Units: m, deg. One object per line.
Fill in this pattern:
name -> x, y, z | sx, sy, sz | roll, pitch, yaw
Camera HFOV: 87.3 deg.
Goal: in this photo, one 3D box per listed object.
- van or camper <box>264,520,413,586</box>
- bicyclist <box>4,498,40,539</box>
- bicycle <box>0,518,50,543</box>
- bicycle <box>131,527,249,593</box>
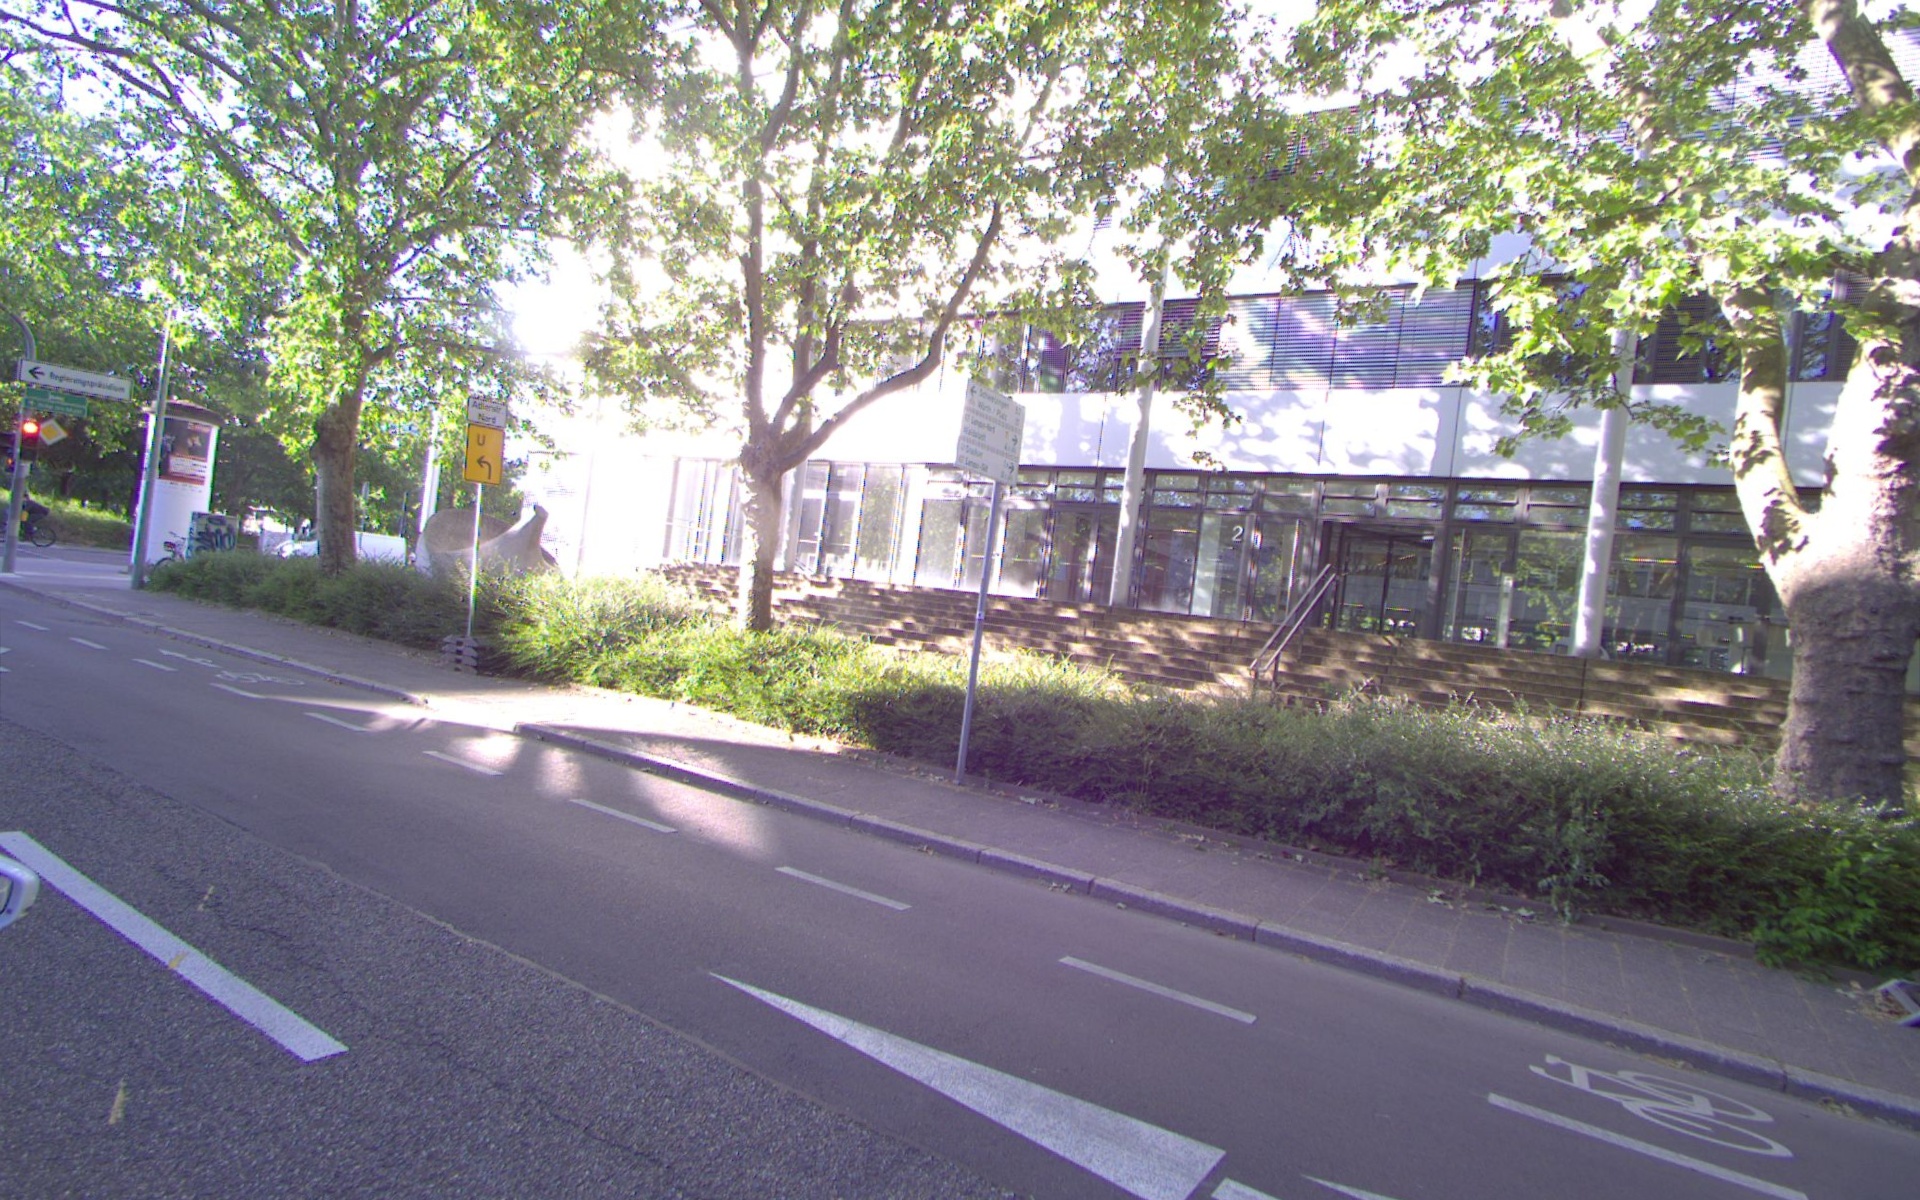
van or camper -> -25.042, -1.852, 40.688 | 1.967, 1.964, 4.587 | 7, -1, 32
bicyclist -> -31.618, -2.751, 33.924 | 0.450, 1.275, 0.704 | 7, 0, 35
bicycle -> -31.757, -2.357, 33.823 | 0.488, 0.642, 1.588 | 7, -1, 35
bicycle -> -16.020, -0.811, 20.978 | 0.502, 1.110, 1.806 | 7, -1, 34
